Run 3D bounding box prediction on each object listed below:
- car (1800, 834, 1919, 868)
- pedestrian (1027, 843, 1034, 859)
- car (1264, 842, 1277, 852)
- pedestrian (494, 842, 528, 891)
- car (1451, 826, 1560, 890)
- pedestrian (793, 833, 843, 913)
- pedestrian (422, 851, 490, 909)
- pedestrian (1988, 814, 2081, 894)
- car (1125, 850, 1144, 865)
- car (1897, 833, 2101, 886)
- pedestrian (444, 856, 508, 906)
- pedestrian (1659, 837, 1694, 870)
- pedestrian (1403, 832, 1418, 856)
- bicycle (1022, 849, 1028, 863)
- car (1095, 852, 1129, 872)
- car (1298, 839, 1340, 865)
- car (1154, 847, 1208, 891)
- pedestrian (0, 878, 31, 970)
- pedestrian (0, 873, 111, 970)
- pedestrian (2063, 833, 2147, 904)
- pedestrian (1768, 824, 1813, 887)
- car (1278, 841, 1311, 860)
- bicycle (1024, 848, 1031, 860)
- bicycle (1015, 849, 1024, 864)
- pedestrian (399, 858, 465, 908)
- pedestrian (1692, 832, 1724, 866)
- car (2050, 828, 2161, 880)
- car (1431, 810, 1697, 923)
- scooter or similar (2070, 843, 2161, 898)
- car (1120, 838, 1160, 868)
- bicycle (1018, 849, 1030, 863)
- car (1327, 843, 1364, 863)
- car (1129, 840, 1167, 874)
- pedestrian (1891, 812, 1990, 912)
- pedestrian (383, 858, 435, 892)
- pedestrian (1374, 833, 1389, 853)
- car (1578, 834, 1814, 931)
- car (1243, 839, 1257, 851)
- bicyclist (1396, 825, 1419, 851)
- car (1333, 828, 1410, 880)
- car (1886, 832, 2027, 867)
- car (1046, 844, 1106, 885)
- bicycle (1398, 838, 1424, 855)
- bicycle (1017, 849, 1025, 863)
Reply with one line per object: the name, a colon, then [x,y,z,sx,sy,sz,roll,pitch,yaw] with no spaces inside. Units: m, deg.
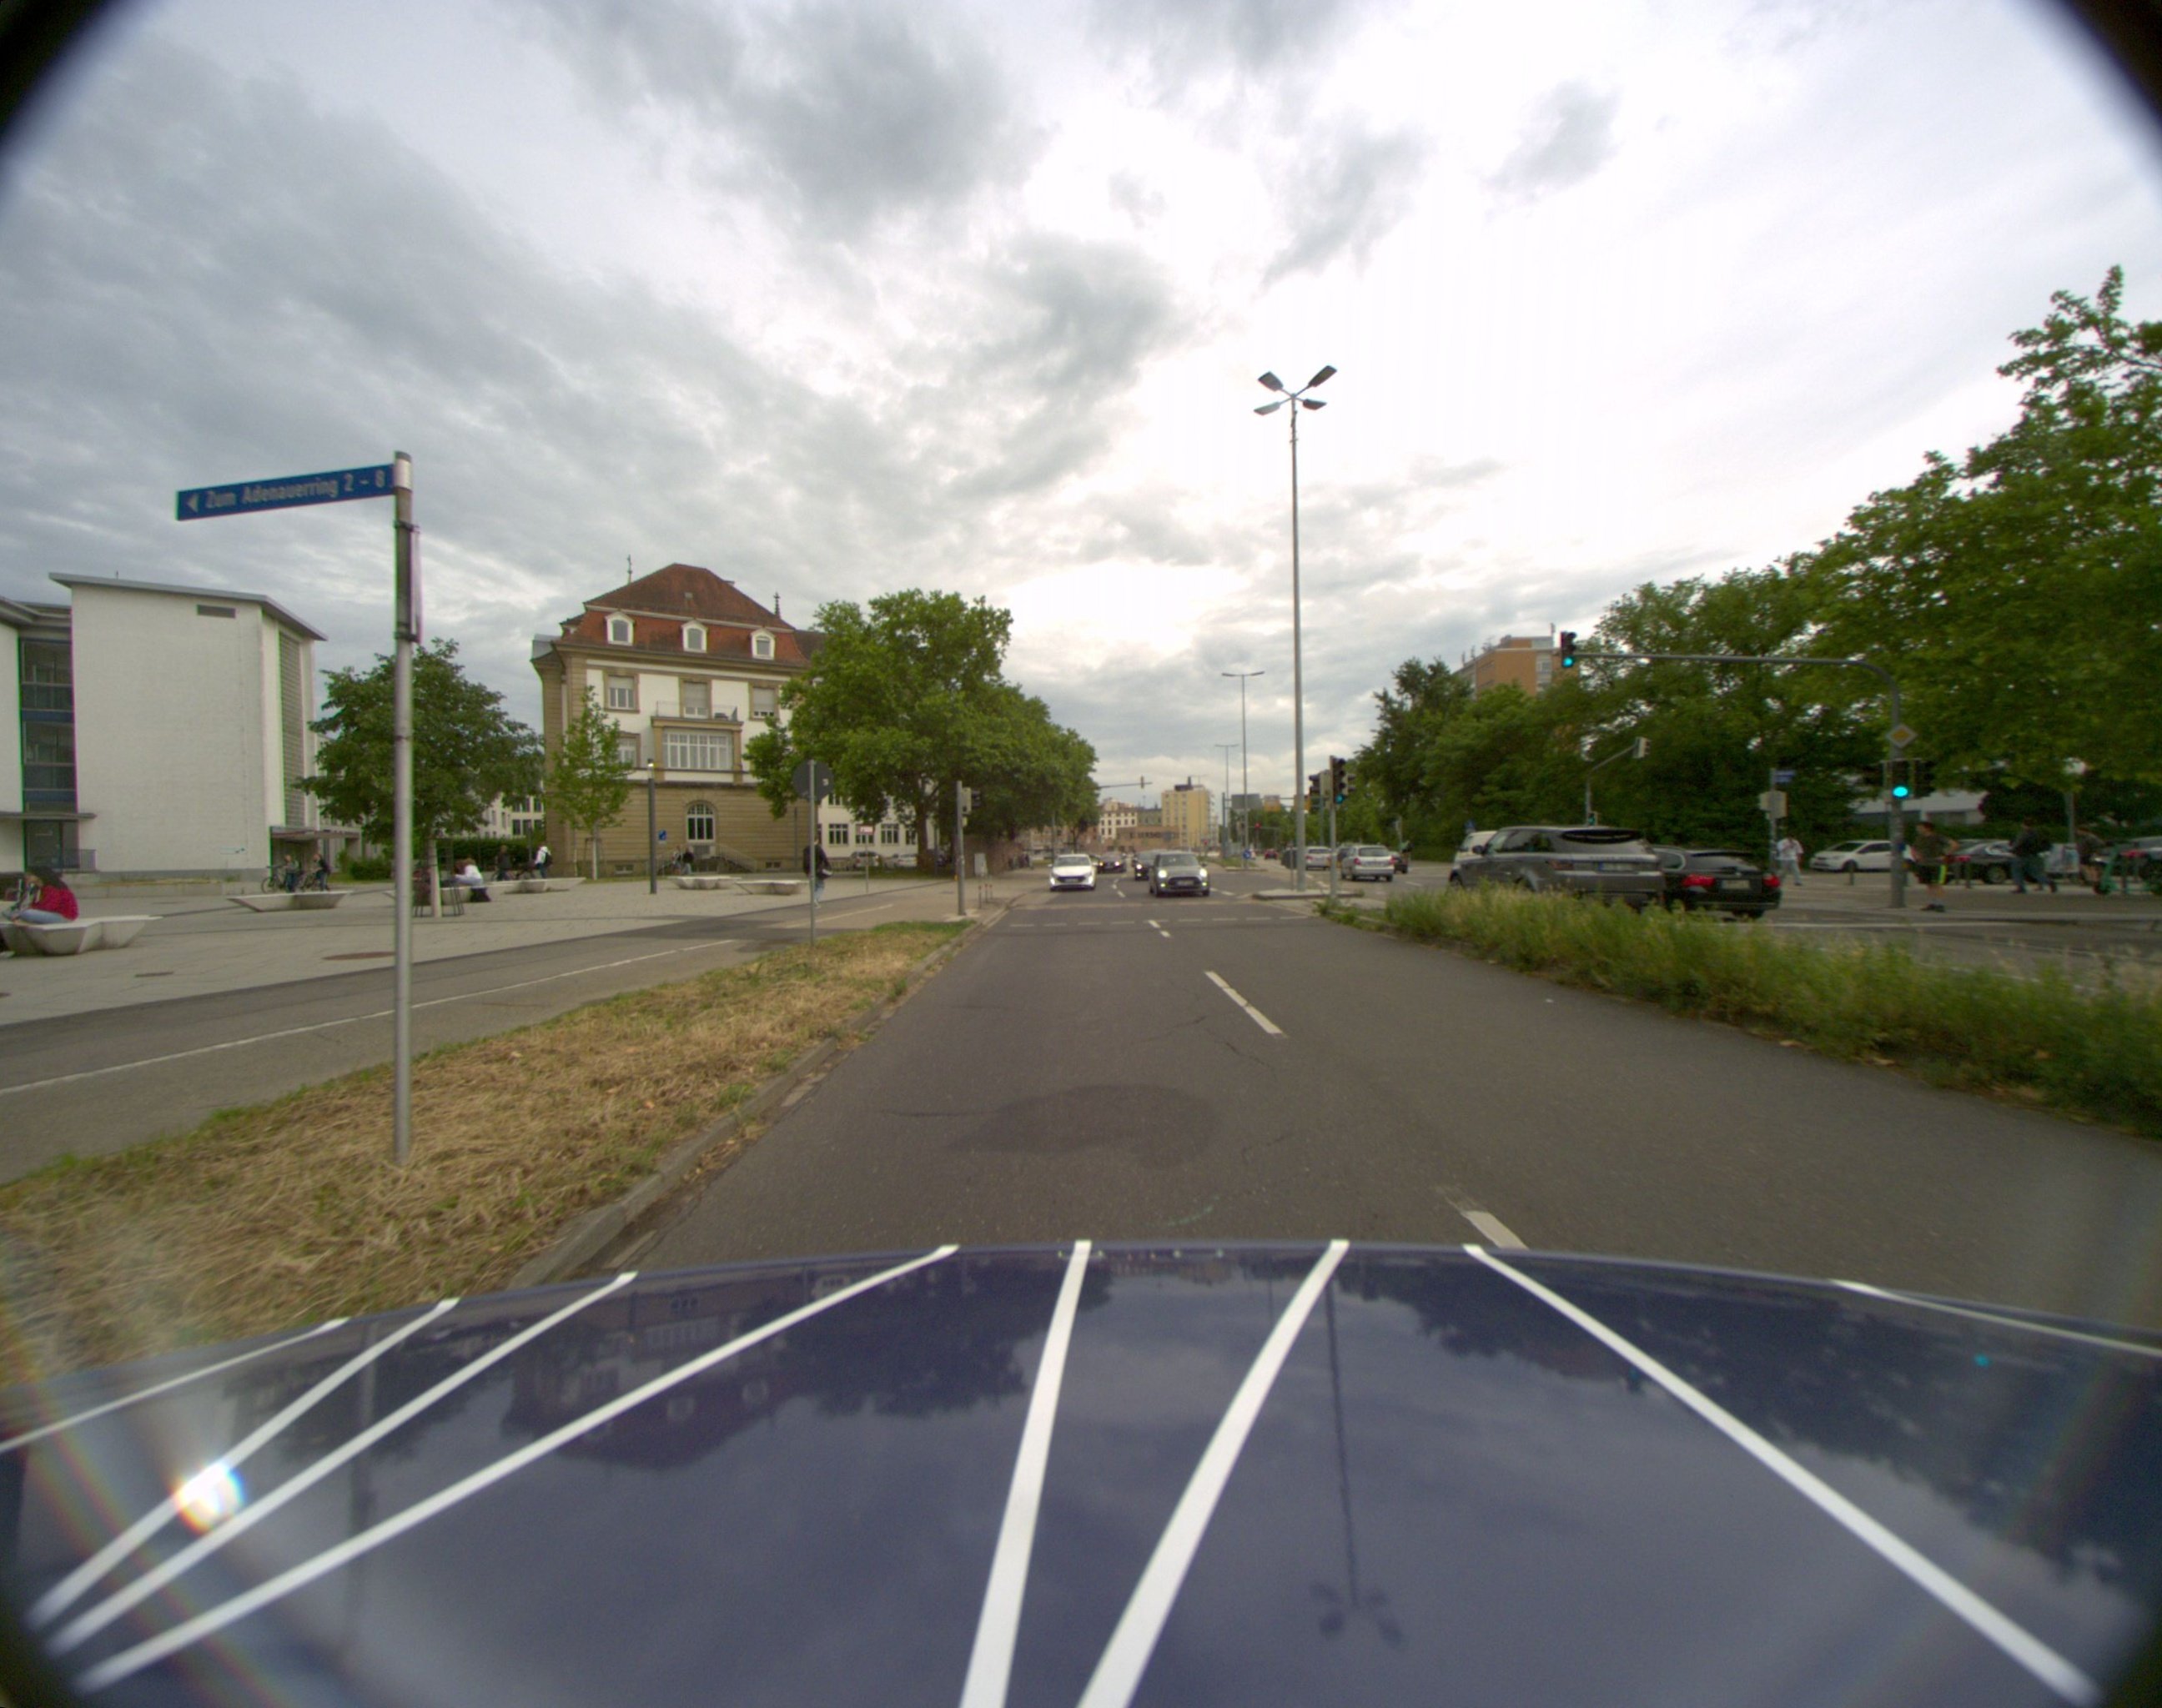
car: [36.752,-0.151,35.957,3.592,1.442,1.863,-2,1,5]
pedestrian: [-6.345,-0.336,95.596,0.784,2.002,0.888,0,2,-13]
car: [30.041,-1.079,120.493,1.852,1.543,4.004,0,1,15]
pedestrian: [-22.645,0.484,30.198,0.738,1.875,0.888,-1,1,-13]
car: [13.924,0.092,25.251,1.774,1.837,4.491,-3,1,11]
pedestrian: [-6.728,0.466,19.473,0.844,2.002,0.895,-1,1,7]
pedestrian: [-15.658,0.636,19.067,0.911,1.359,0.878,-3,1,-5]
pedestrian: [21.763,-0.003,17.366,0.897,1.793,0.936,0,1,2]
car: [5.542,0.327,78.333,1.605,1.360,3.580,-3,1,7]
car: [29.881,0.163,24.849,4.152,1.463,2.000,-3,1,2]
pedestrian: [-16.092,0.700,20.238,0.910,1.250,0.879,-3,1,8]
pedestrian: [27.035,-0.014,34.516,0.701,1.420,0.998,-3,1,-23]
pedestrian: [28.841,-0.880,66.500,0.908,2.002,0.823,-6,0,13]
bicycle: [-4.881,0.165,66.317,0.339,1.137,1.940,-3,1,-7]
car: [2.079,0.496,50.053,1.702,1.182,2.832,-3,1,13]
car: [15.565,-0.118,49.905,1.961,1.575,4.258,-1,0,8]
car: [3.324,0.452,24.927,1.624,1.310,3.707,-1,1,9]
pedestrian: [-14.499,0.921,9.807,0.892,1.186,0.846,-1,1,19]
pedestrian: [-13.999,0.884,10.362,0.843,1.199,0.896,0,1,39]
pedestrian: [29.646,0.408,22.024,1.005,2.002,1.017,-1,1,5]
pedestrian: [23.849,0.045,25.553,0.668,2.047,0.852,-2,1,-7]
car: [17.407,-0.299,62.140,1.997,1.520,4.275,-1,1,7]
bicycle: [-5.053,-0.012,71.505,0.478,1.070,2.083,-1,1,2]
bicycle: [-4.867,0.219,60.015,0.386,1.137,1.940,-3,1,-11]
pedestrian: [-17.257,0.759,20.223,0.910,1.250,0.879,-3,1,8]
pedestrian: [28.272,-0.232,34.282,0.823,1.504,0.976,-1,1,20]
car: [34.687,-0.043,24.603,3.996,1.463,2.000,-3,1,2]
car: [8.674,0.182,14.326,1.998,1.677,4.948,-2,0,3]
scooter or similar: [22.212,0.326,16.295,0.361,1.134,1.320,-1,1,5]
car: [3.044,-0.070,38.735,1.731,1.450,4.002,-1,1,9]
bicycle: [-4.886,0.180,64.686,0.386,1.137,1.938,-3,1,-22]
car: [19.522,-0.097,56.197,1.856,1.455,3.699,-1,1,7]
car: [4.108,0.153,46.195,1.997,2.002,4.002,-1,1,9]
pedestrian: [17.720,0.156,15.694,0.896,2.002,1.009,-1,1,3]
pedestrian: [-16.858,0.519,19.074,0.635,0.819,0.734,0,2,21]
pedestrian: [25.603,-0.920,64.796,0.990,1.616,0.814,-3,1,6]
car: [11.943,0.468,15.153,1.702,1.680,4.001,-1,1,5]
car: [27.135,-1.484,121.764,1.892,1.763,4.002,-3,1,9]
bicyclist: [26.692,-1.307,62.123,1.184,2.002,1.280,-3,1,-14]
car: [12.060,-0.034,31.860,1.998,2.002,4.001,-1,1,5]
car: [40.615,-0.211,35.331,3.995,1.383,2.001,-3,1,6]
car: [-0.121,0.367,31.012,1.812,1.533,4.002,-1,1,9]
bicycle: [26.951,-0.622,62.059,0.607,1.325,2.308,-3,1,-14]
bicycle: [-5.007,0.199,63.189,0.386,1.137,1.940,-3,1,-11]
